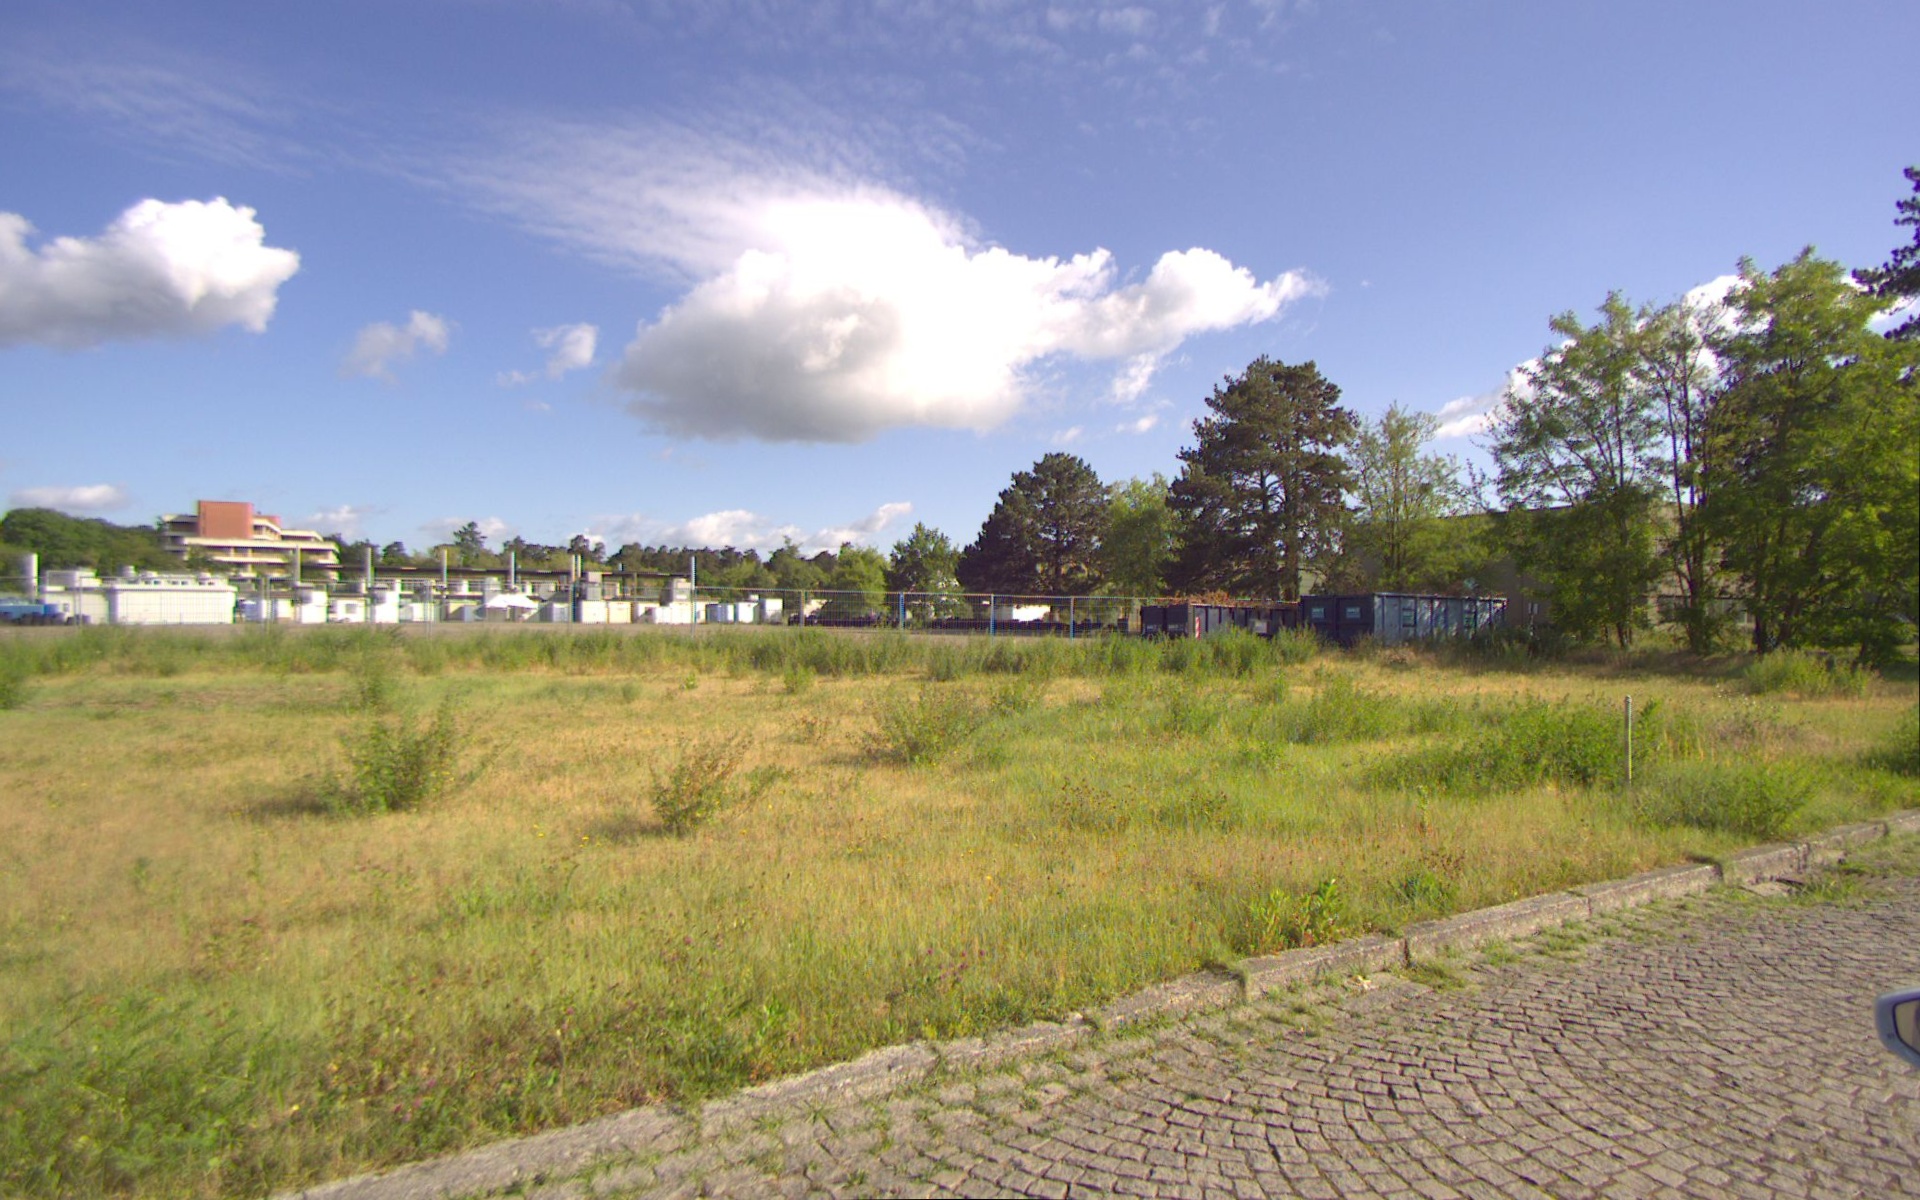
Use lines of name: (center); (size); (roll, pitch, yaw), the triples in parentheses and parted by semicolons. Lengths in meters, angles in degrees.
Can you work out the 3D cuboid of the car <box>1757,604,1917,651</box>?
car: (32.812, 1.000, 37.695); (1.985, 1.630, 4.127); (1, -1, -28)
